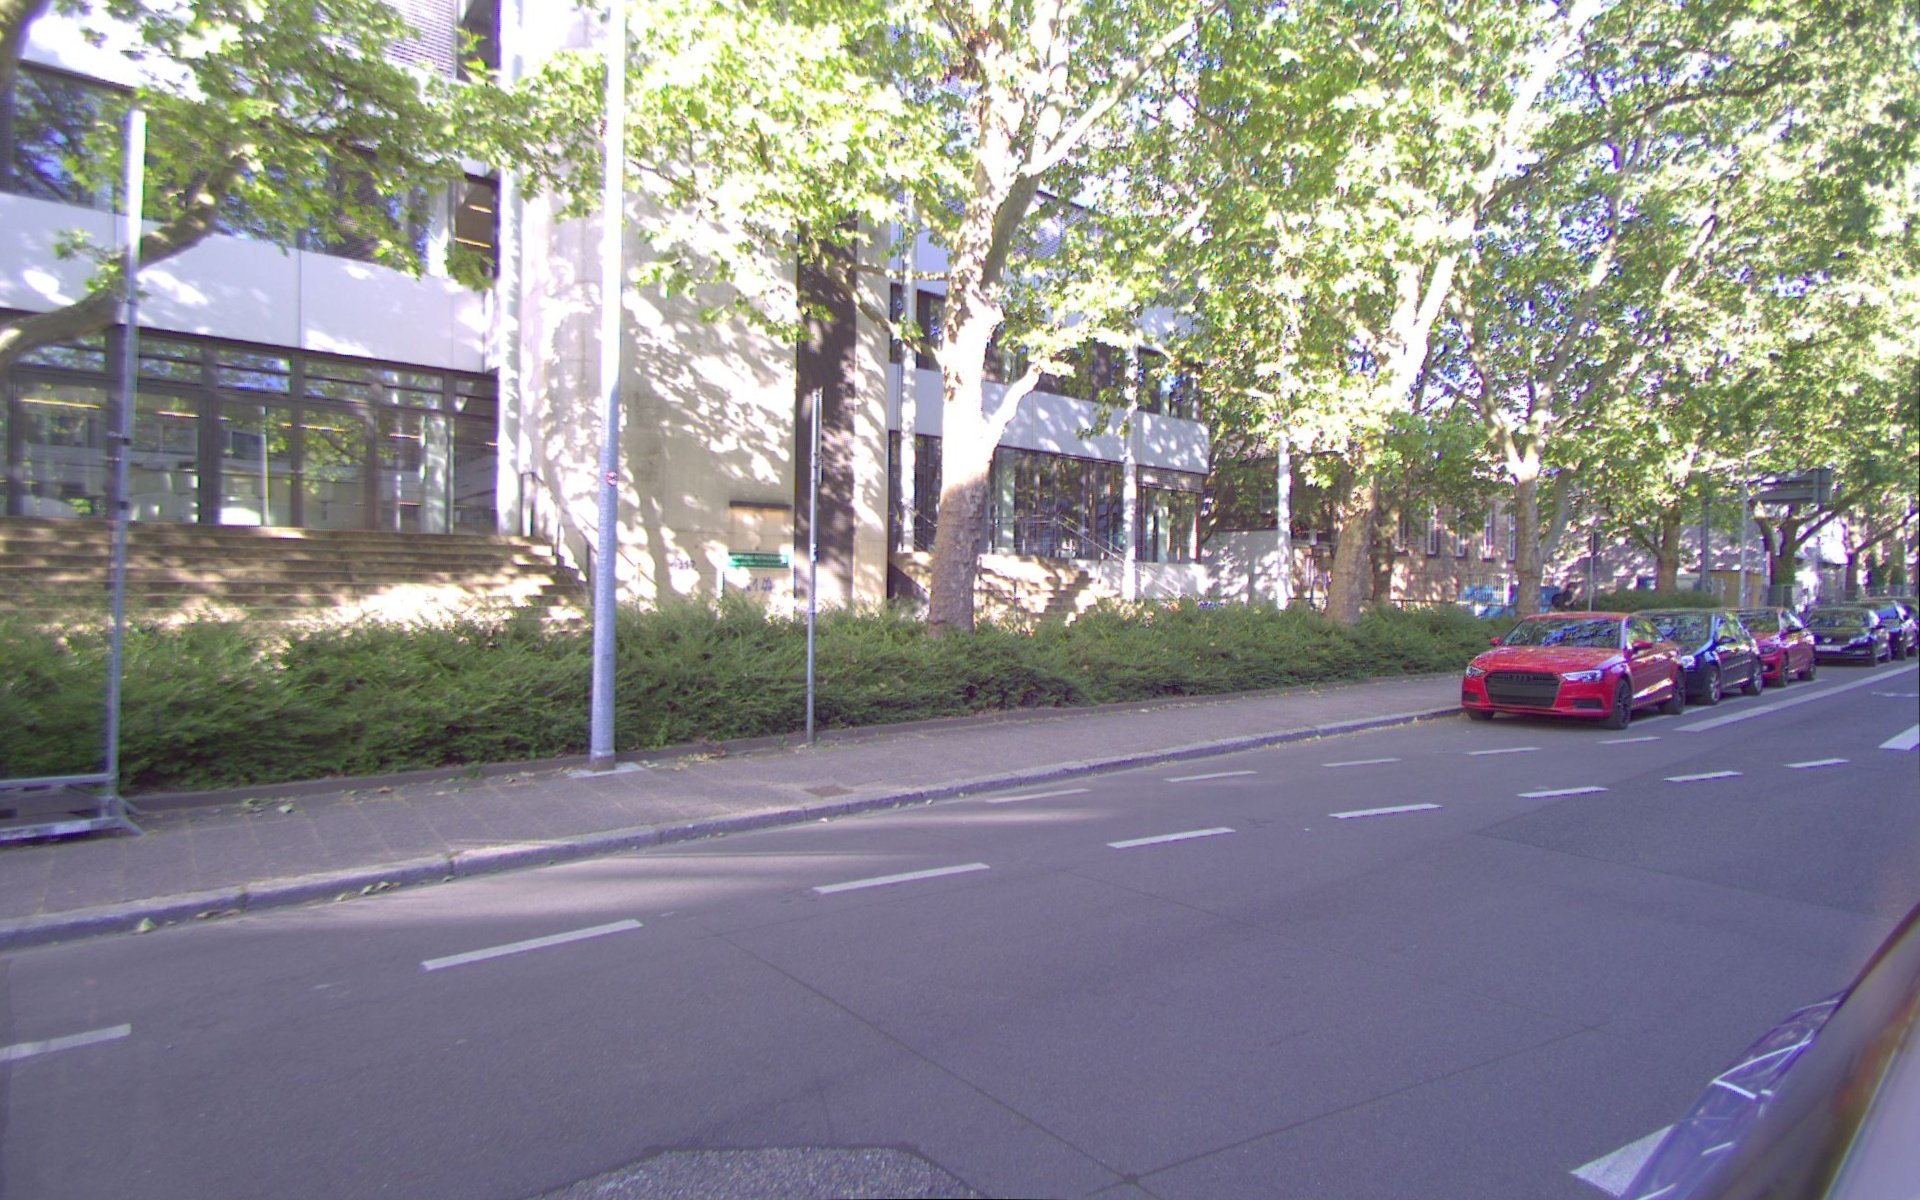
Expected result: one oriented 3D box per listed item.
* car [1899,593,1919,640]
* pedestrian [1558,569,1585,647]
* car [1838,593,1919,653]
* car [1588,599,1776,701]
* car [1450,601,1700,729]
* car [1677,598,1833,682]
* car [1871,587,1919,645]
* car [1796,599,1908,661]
[{"bbox_3d":[35.525,0.573,36.774,4.497,1.633,1.632,-1,0,-41],"label":"car"},{"bbox_3d":[16.216,0.199,26.834,0.549,2.039,0.555,0,0,38],"label":"pedestrian"},{"bbox_3d":[26.623,0.604,29.034,4.158,1.598,1.632,-1,0,-41],"label":"car"},{"bbox_3d":[11.845,0.730,16.535,3.632,1.436,1.668,-1,0,-40],"label":"car"},{"bbox_3d":[8.290,0.737,13.506,3.931,1.409,1.792,-1,0,-42],"label":"car"},{"bbox_3d":[15.733,0.708,19.962,3.854,1.467,1.691,-1,0,-40],"label":"car"},{"bbox_3d":[31.162,0.473,33.003,4.497,1.814,1.632,-1,0,-41],"label":"car"},{"bbox_3d":[22.938,0.712,25.977,3.855,1.441,1.691,-1,0,-41],"label":"car"}]
